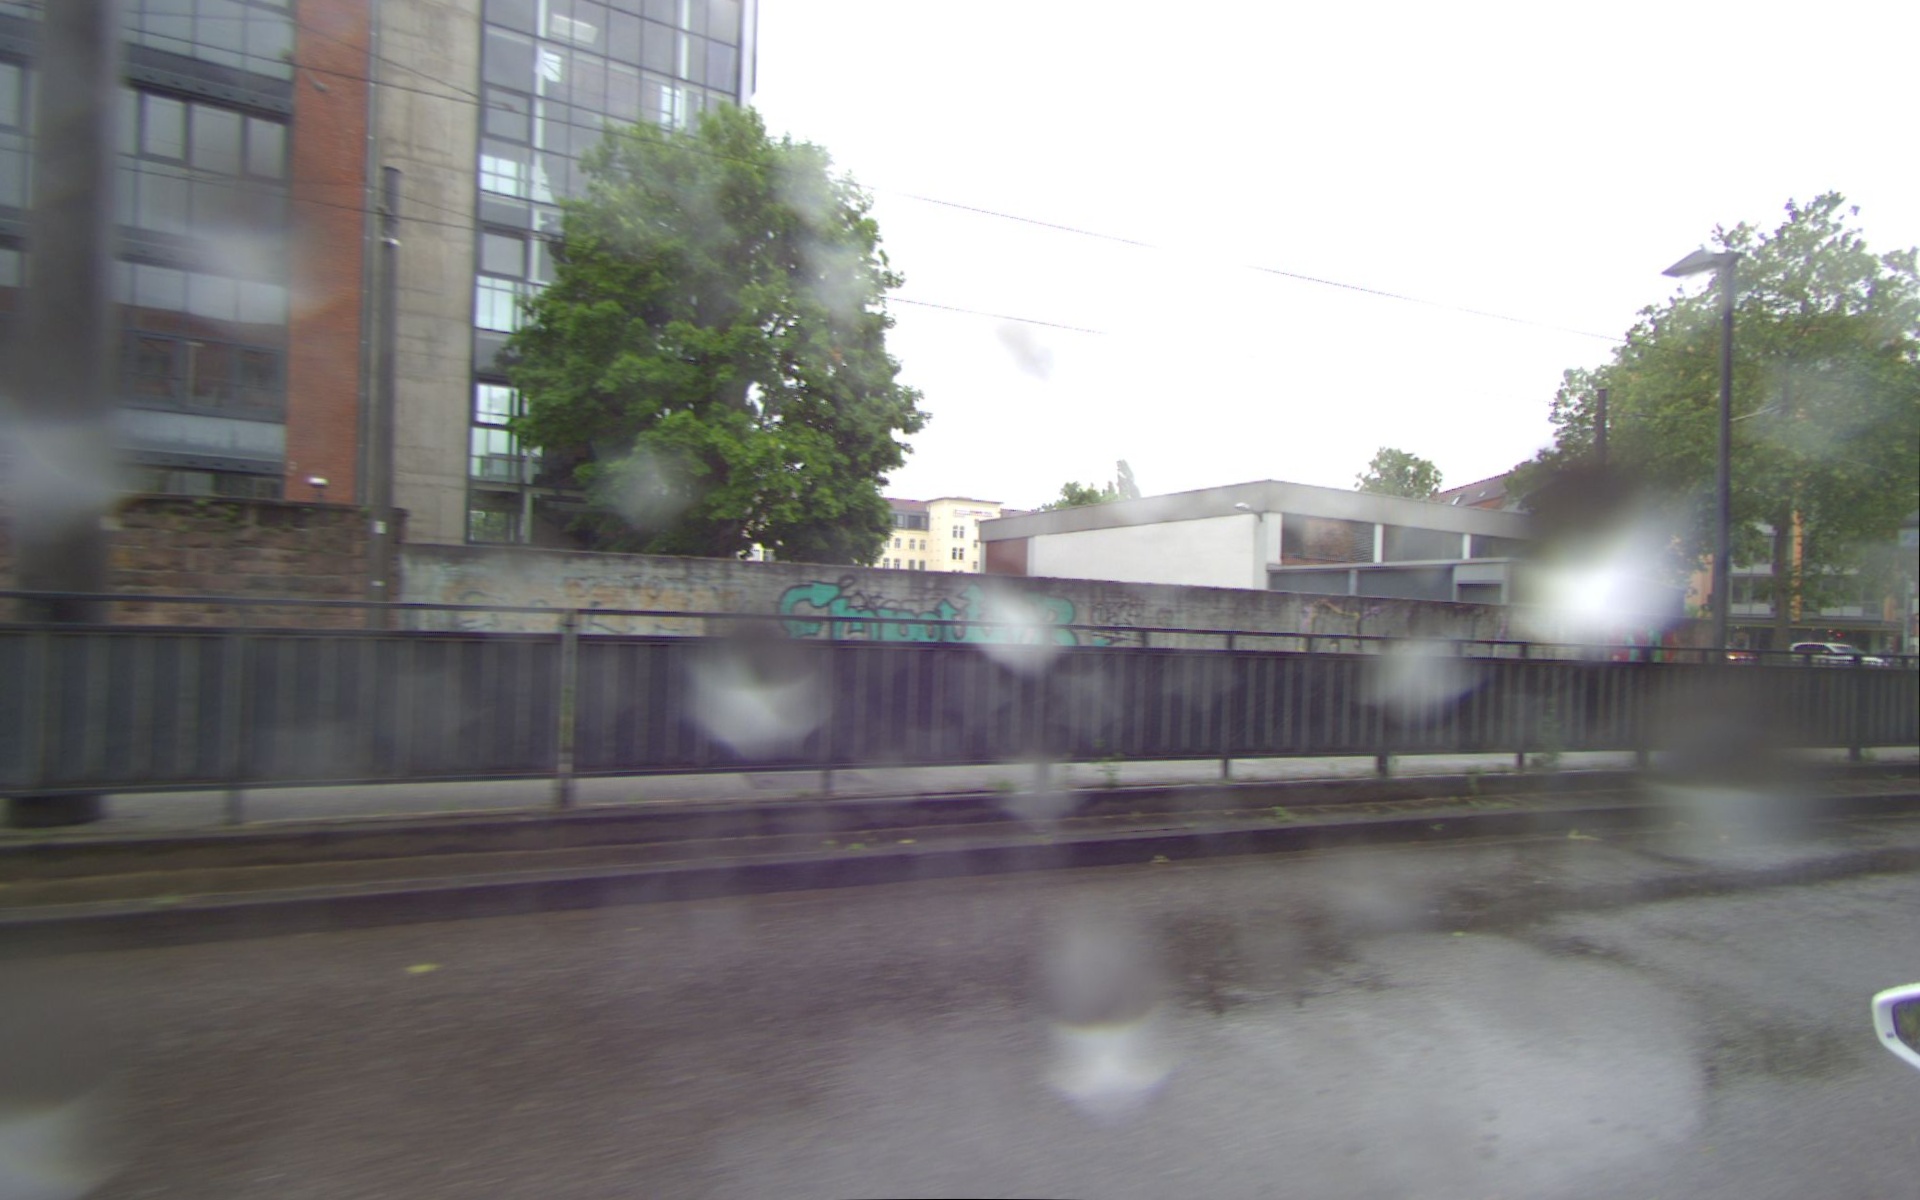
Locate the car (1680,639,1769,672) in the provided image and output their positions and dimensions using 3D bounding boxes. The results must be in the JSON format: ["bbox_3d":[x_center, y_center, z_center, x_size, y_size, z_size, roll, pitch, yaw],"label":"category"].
[{"bbox_3d":[40.120,2.881,52.828,1.691,1.661,3.794,1,-2,-1],"label":"car"}]

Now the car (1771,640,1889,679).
[{"bbox_3d":[40.163,2.715,46.503,1.934,1.673,4.020,1,-2,-1],"label":"car"}]
